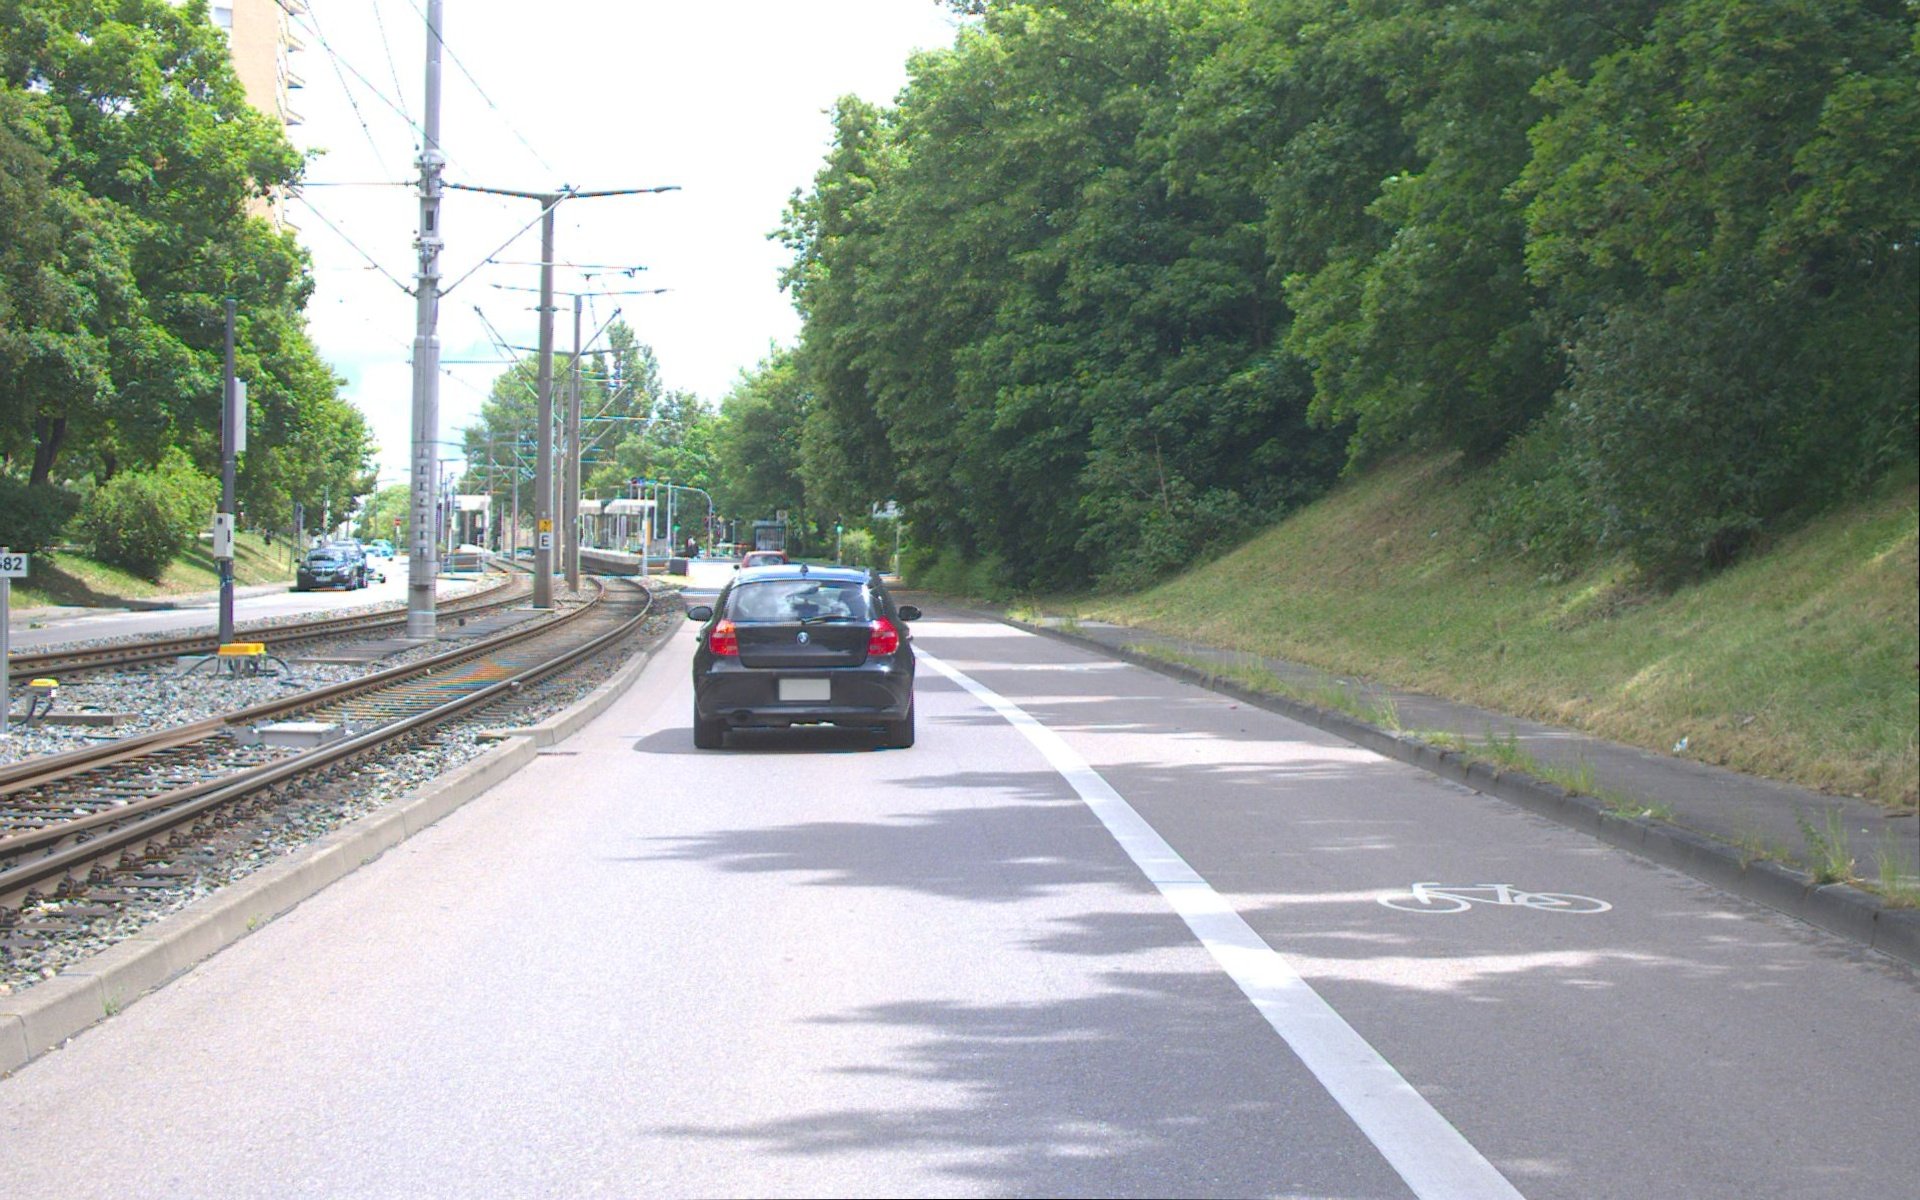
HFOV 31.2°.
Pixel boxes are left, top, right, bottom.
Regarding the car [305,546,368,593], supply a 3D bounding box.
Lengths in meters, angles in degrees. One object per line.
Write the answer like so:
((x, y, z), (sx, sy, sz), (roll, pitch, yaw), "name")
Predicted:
((-20.568, -1.020, 113.589), (1.774, 1.493, 3.998), (1, 1, -6), "car")

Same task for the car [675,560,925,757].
((-1.357, 0.414, 27.723), (1.781, 1.454, 3.922), (0, 1, -6), "car")

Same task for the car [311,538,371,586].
((-21.645, -1.305, 120.348), (1.774, 1.624, 4.383), (0, 0, -6), "car")

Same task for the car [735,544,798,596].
((-5.622, -0.887, 99.591), (1.781, 1.454, 3.921), (1, 1, -4), "car")

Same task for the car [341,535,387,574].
((-23.872, -1.833, 137.715), (1.781, 1.527, 4.246), (0, 1, -9), "car")
